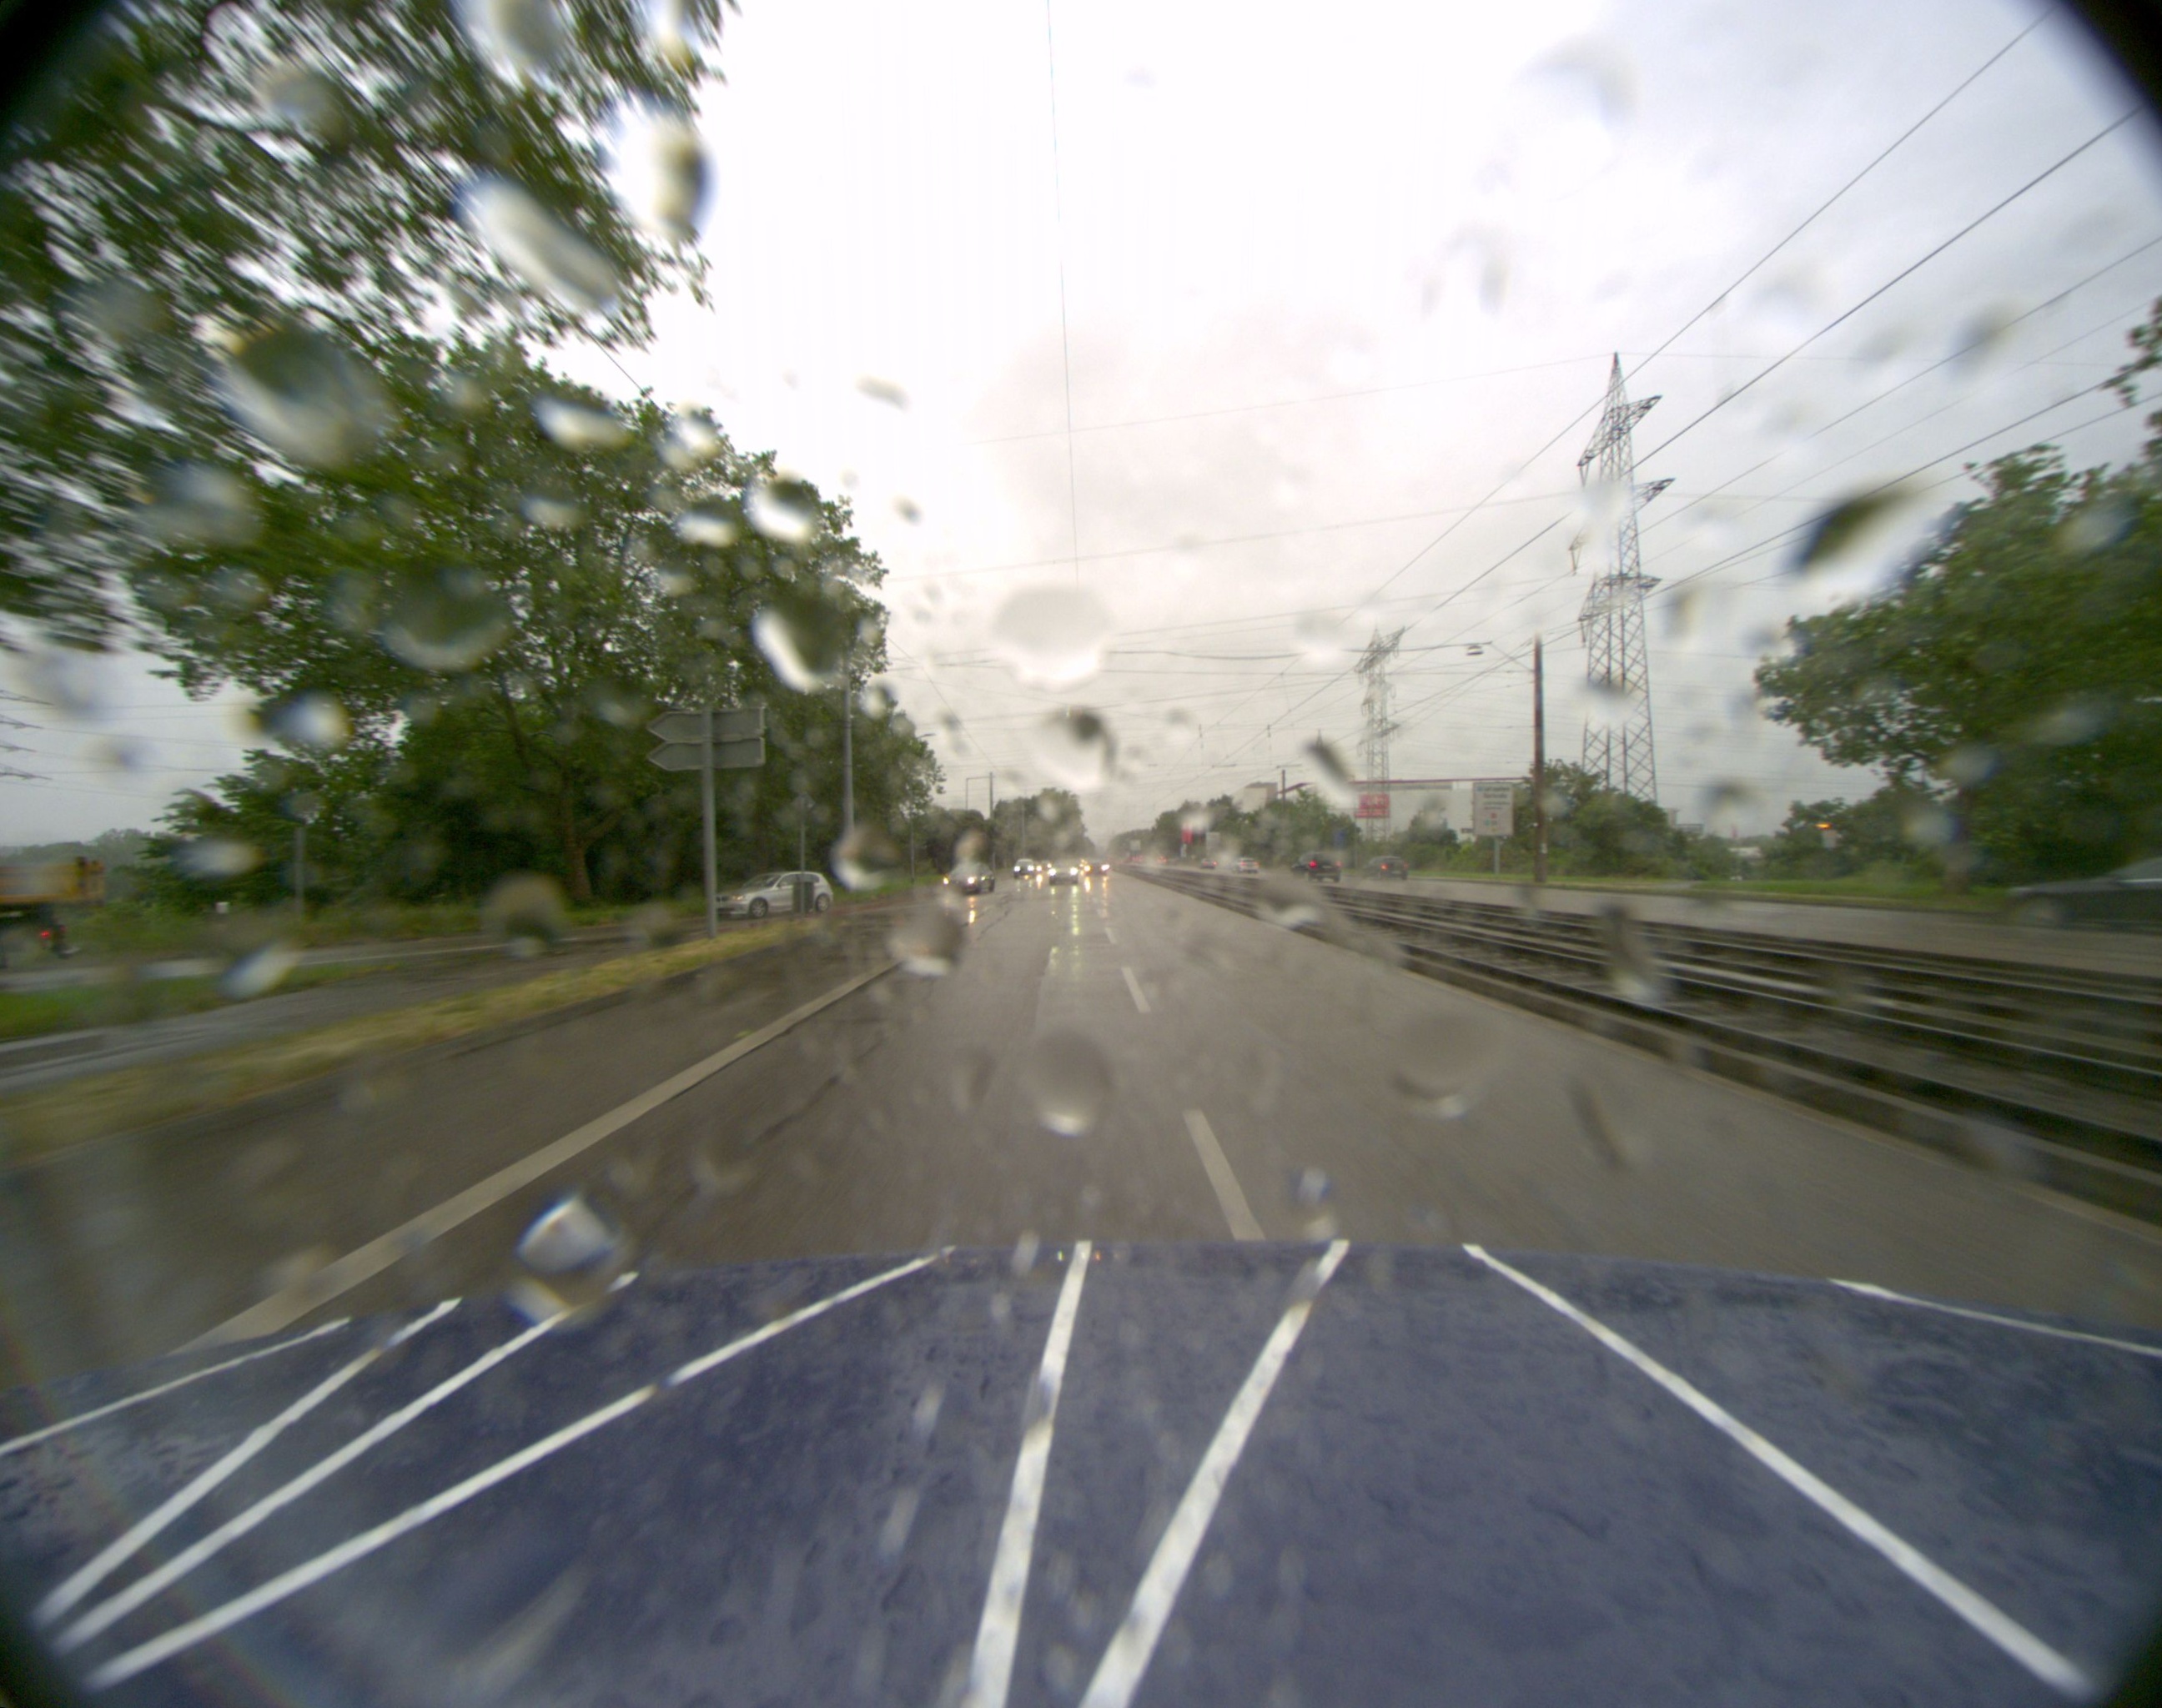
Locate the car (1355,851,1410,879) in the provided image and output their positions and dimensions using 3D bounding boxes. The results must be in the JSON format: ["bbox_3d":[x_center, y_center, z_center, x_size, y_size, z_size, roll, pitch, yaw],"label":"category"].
[{"bbox_3d":[18.476,0.677,46.693,1.693,1.542,4.000,-2,-1,-1],"label":"car"}]

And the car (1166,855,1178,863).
[{"bbox_3d":[17.952,0.974,150.126,1.998,1.455,5.252,1,-1,3],"label":"car"}]

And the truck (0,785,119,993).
[{"bbox_3d":[-19.505,0.634,10.823,2.557,3.238,6.947,-3,-1,42],"label":"truck"}]

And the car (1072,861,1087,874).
[{"bbox_3d":[-0.152,1.778,99.742,1.816,1.692,4.001,-2,-1,1],"label":"car"}]

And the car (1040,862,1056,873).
[{"bbox_3d":[-4.493,1.780,103.598,1.784,1.419,4.001,-2,-1,1],"label":"car"}]

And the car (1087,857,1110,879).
[{"bbox_3d":[1.455,1.176,64.287,1.816,1.692,4.001,-2,-1,1],"label":"car"}]

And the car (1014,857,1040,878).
[{"bbox_3d":[-4.662,1.139,66.174,1.797,1.692,4.764,-2,-1,1],"label":"car"}]

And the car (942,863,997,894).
[{"bbox_3d":[-5.387,1.155,37.224,1.892,1.349,4.278,-2,-1,1],"label":"car"}]

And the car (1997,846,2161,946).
[{"bbox_3d":[19.396,0.700,12.855,1.847,1.676,4.647,-2,-1,-9],"label":"car"}]

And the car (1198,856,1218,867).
[{"bbox_3d":[17.161,0.987,103.039,1.762,1.354,5.071,-2,-1,0],"label":"car"}]

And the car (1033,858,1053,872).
[{"bbox_3d":[-3.945,1.152,79.976,1.784,1.419,4.001,-2,-1,1],"label":"car"}]

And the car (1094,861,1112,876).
[{"bbox_3d":[2.400,1.565,83.065,1.807,1.521,3.645,-2,-1,-1],"label":"car"}]

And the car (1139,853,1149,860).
[{"bbox_3d":[15.299,0.654,185.222,1.829,1.625,5.137,-2,-1,-1],"label":"car"}]

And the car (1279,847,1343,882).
[{"bbox_3d":[12.948,0.620,43.154,1.892,1.798,5.004,-2,-1,-2],"label":"car"}]

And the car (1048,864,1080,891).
[{"bbox_3d":[-0.989,1.385,46.065,1.807,1.521,3.645,-2,-1,-1],"label":"car"}]

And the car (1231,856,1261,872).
[{"bbox_3d":[15.114,0.923,69.662,1.746,1.346,4.546,-2,-1,0],"label":"car"}]

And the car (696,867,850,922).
[{"bbox_3d":[-9.791,1.264,24.571,1.628,1.494,4.614,-3,-1,27],"label":"car"}]

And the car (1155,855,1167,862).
[{"bbox_3d":[17.521,0.993,166.473,1.847,1.564,5.066,-2,-1,0],"label":"car"}]
